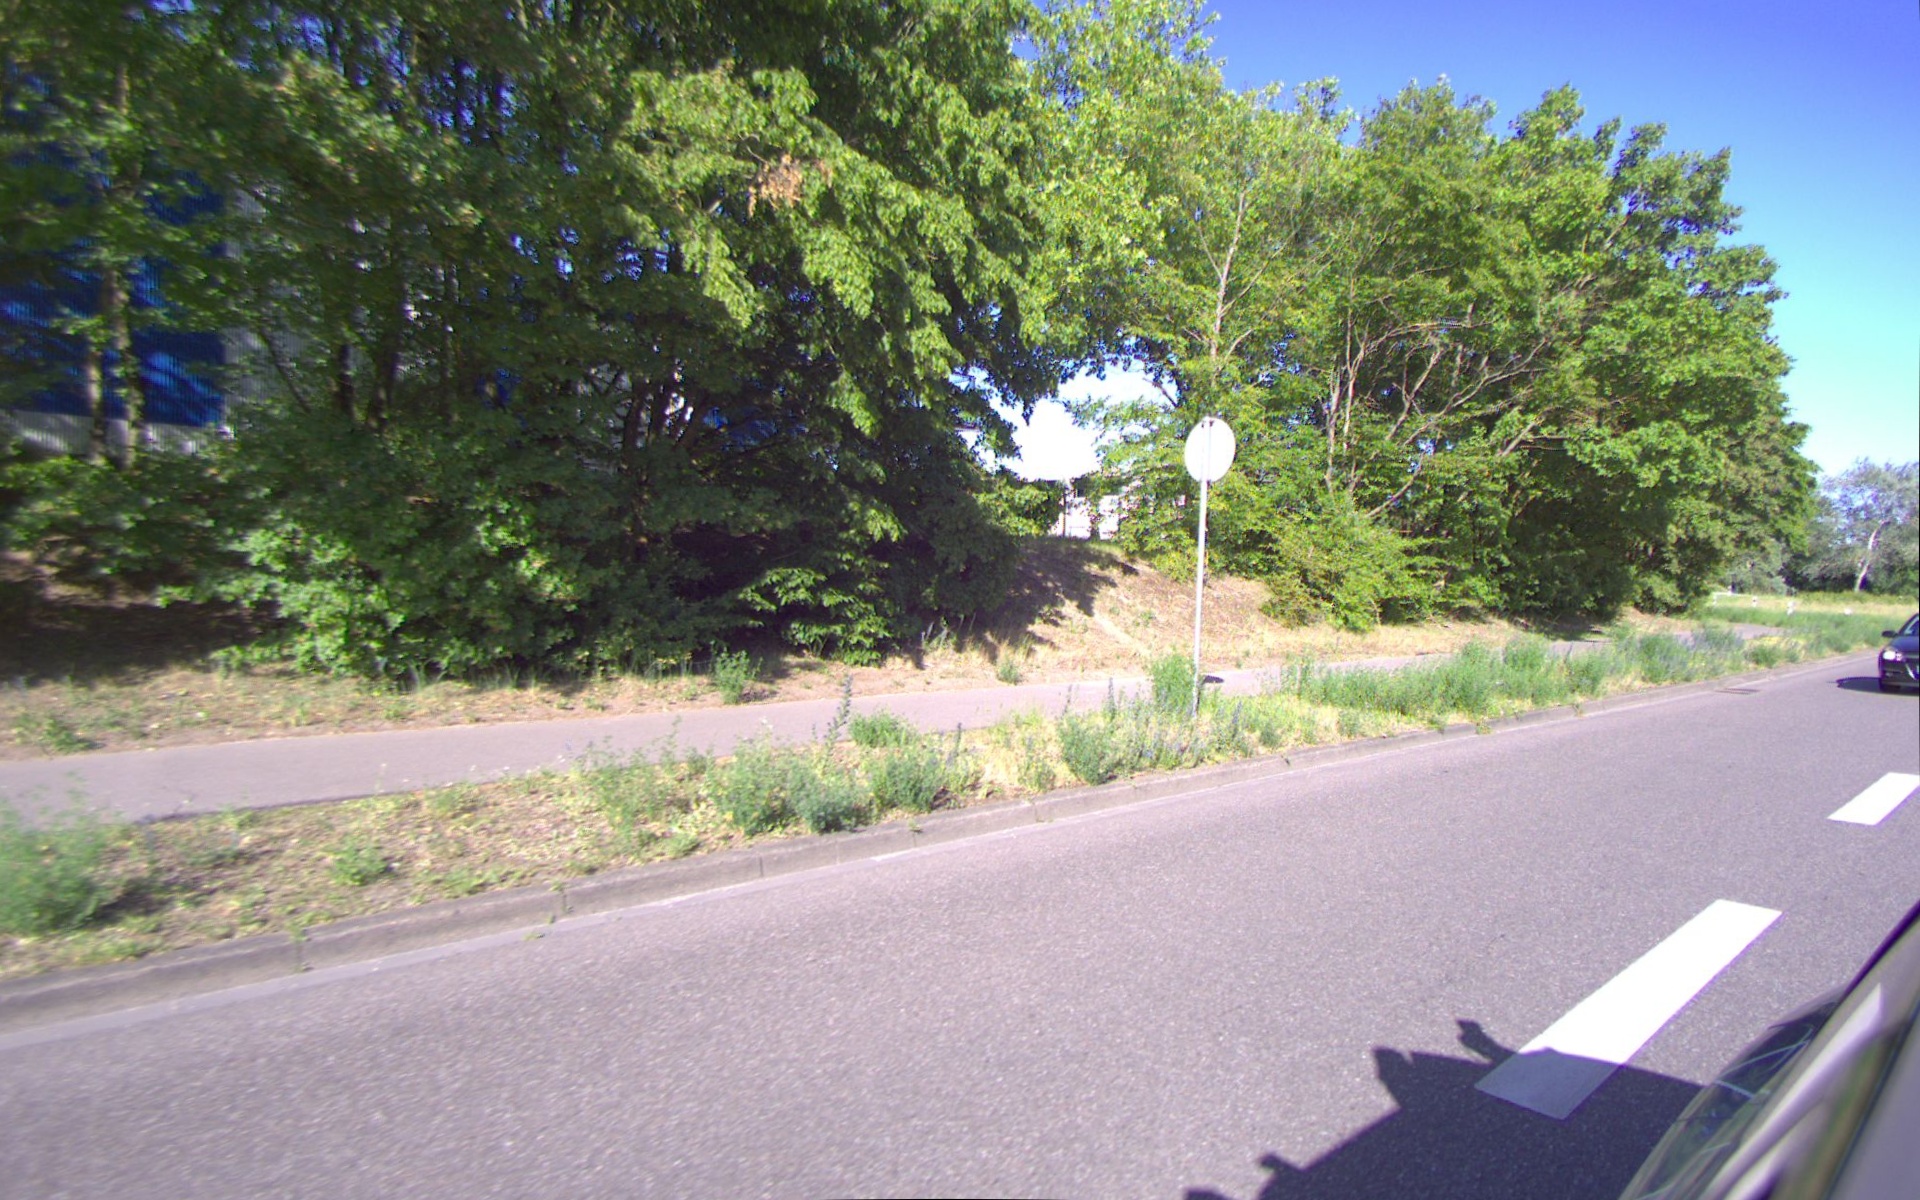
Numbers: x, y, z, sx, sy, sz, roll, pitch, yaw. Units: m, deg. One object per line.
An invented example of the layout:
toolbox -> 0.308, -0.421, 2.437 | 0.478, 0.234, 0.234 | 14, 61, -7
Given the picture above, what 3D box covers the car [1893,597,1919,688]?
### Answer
car -> 17.391, 0.696, 17.193 | 3.888, 1.473, 1.706 | 0, 0, -39
